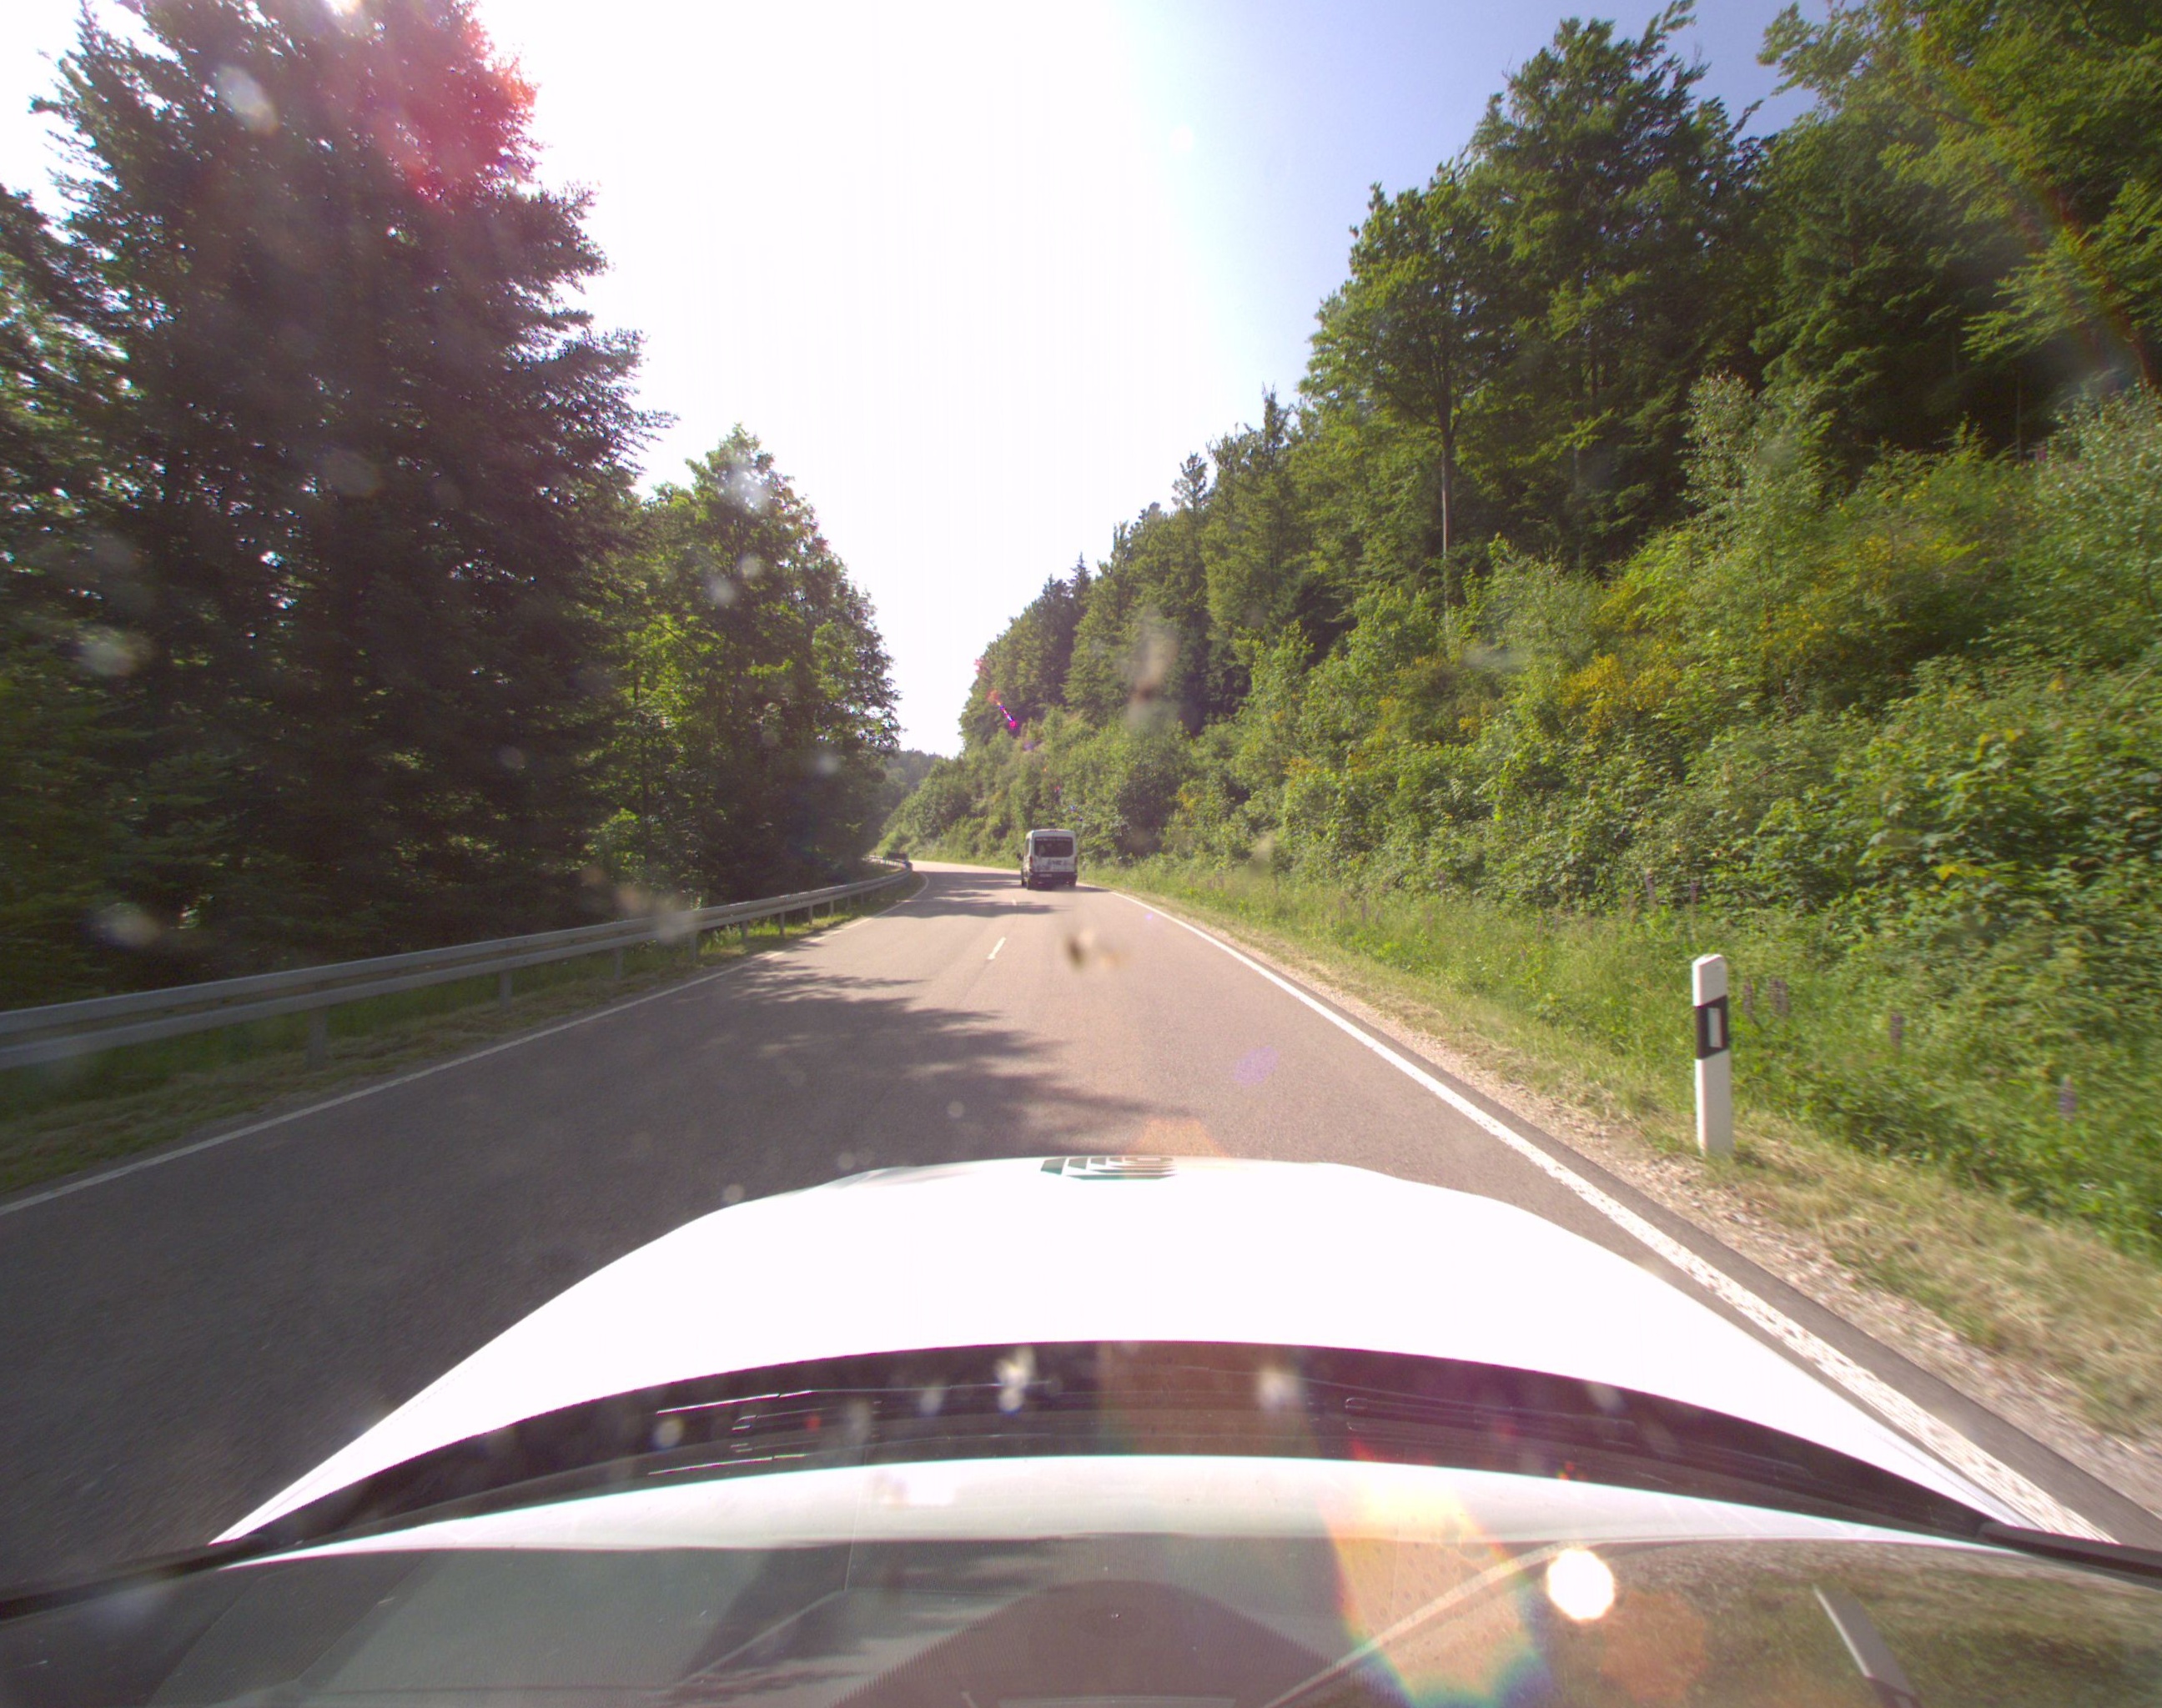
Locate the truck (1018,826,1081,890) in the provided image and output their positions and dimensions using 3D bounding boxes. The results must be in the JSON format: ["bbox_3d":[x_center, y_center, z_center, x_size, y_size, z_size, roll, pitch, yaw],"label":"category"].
[{"bbox_3d":[-1.441,0.142,34.979,2.114,2.498,5.344,-1,0,-8],"label":"truck"}]
